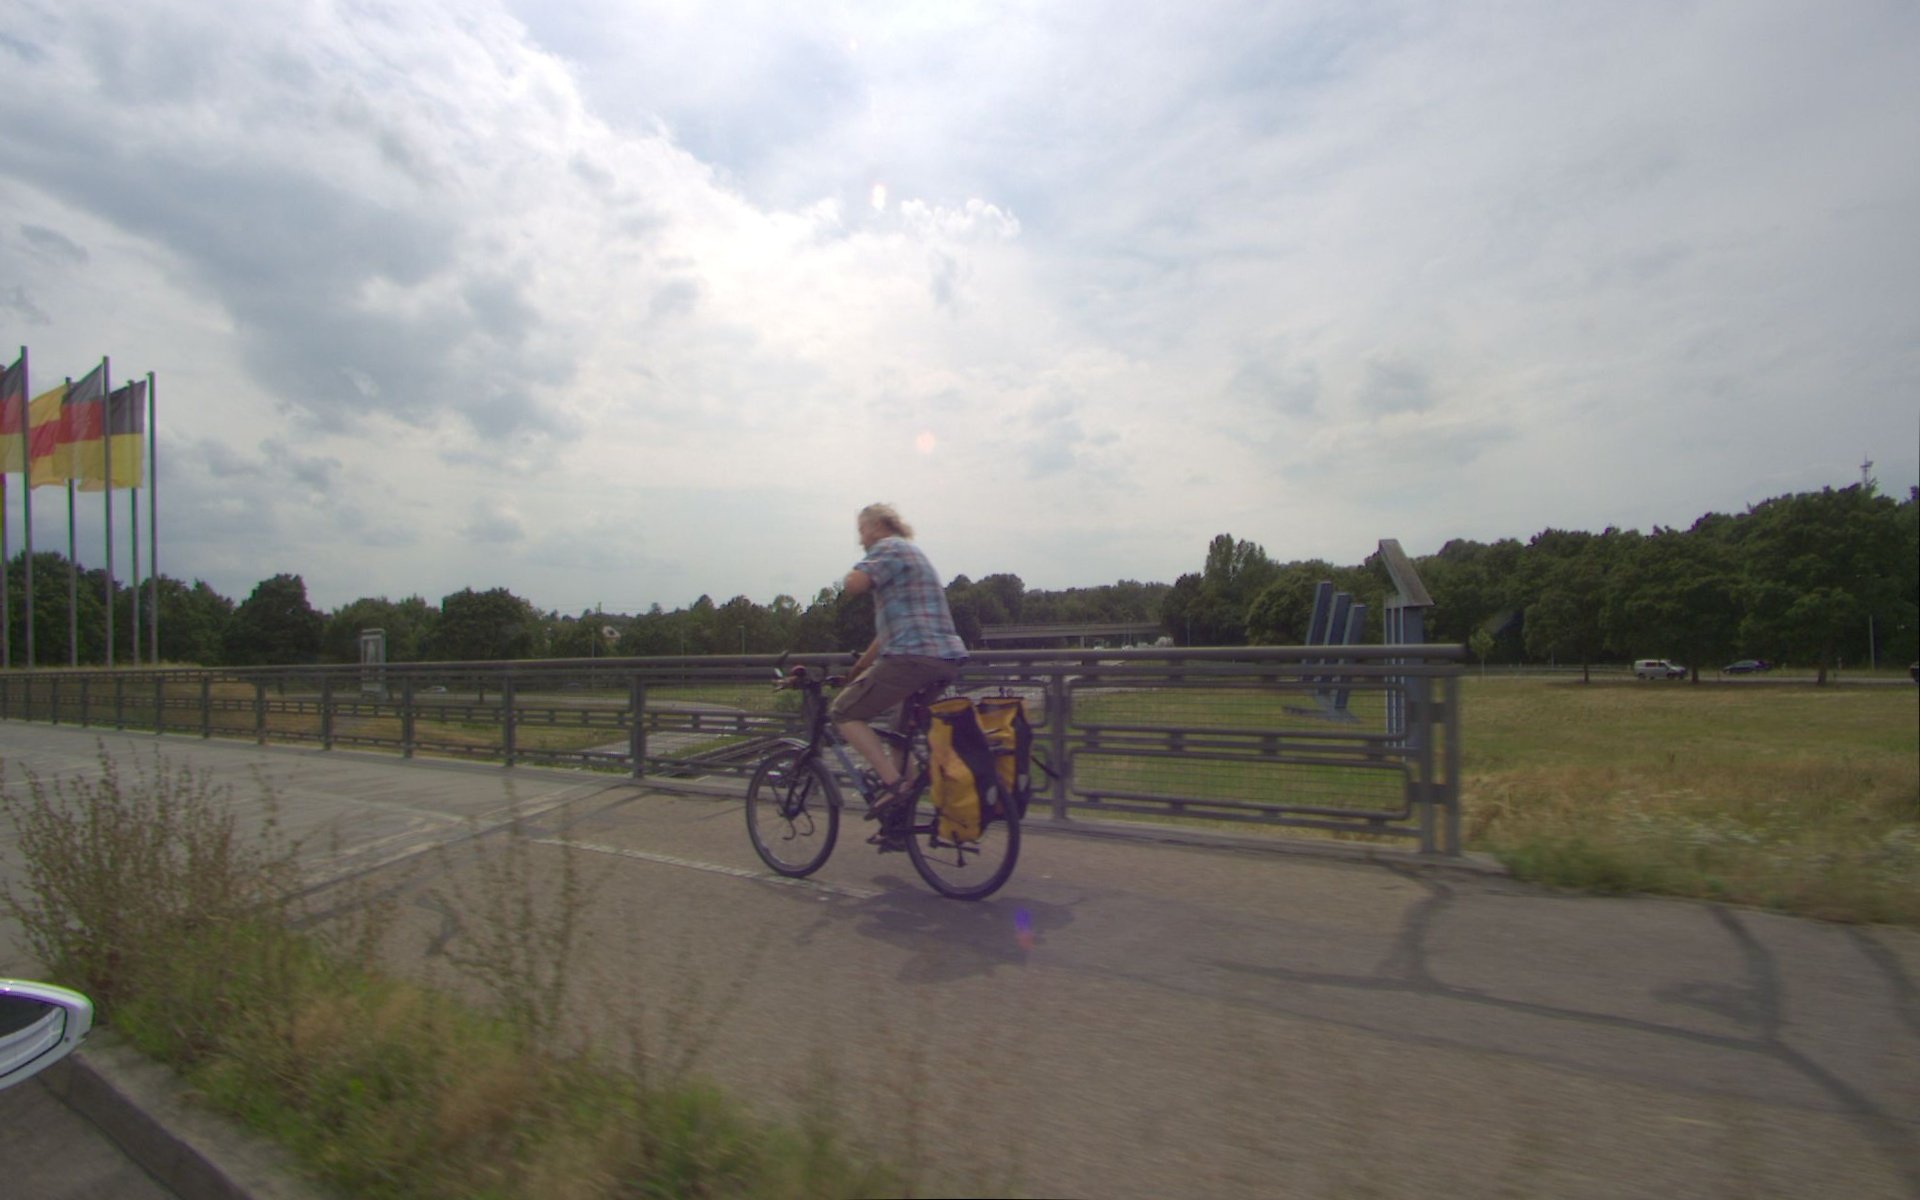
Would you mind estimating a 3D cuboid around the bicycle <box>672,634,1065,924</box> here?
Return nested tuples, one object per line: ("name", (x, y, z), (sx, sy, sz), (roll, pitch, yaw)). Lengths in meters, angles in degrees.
("bicycle", (-0.465, 0.791, 4.947), (1.738, 1.156, 0.811), (-2, 2, 30))

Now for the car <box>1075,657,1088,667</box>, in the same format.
("car", (24.299, 12.308, 199.615), (2.044, 1.906, 4.359), (-1, -2, 14))

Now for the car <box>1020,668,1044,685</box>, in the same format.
("car", (9.498, 10.024, 131.667), (2.206, 2.039, 4.166), (-2, -2, 17))

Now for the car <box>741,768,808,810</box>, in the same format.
("car", (-10.079, 10.249, 54.571), (1.964, 1.605, 3.996), (-3, -2, 16))

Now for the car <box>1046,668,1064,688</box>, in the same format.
("car", (13.471, 11.052, 141.751), (1.963, 2.564, 3.998), (-2, -2, 13))

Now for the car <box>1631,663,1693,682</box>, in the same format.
("car", (72.379, 7.455, 103.320), (1.970, 1.825, 4.883), (0, -2, -27))

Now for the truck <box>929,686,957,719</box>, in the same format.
("truck", (-1.738, 10.733, 105.167), (1.963, 3.189, 4.379), (-2, -2, 11))

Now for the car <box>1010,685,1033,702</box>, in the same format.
("car", (6.917, 10.461, 112.707), (1.963, 1.605, 3.998), (-3, -2, 13))

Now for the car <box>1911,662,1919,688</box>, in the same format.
("car", (76.974, 5.885, 77.690), (1.961, 2.039, 4.474), (-1, -2, -1))

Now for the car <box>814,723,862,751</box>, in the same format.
("car", (-9.003, 10.157, 74.208), (1.965, 1.605, 3.994), (-3, -2, 18))

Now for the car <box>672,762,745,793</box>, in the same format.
("car", (-13.979, 9.848, 55.842), (1.966, 1.252, 3.994), (-2, -5, 22))

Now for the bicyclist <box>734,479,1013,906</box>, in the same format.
("bicyclist", (-0.395, 0.397, 4.879), (0.943, 1.826, 0.869), (-2, 3, 29))
